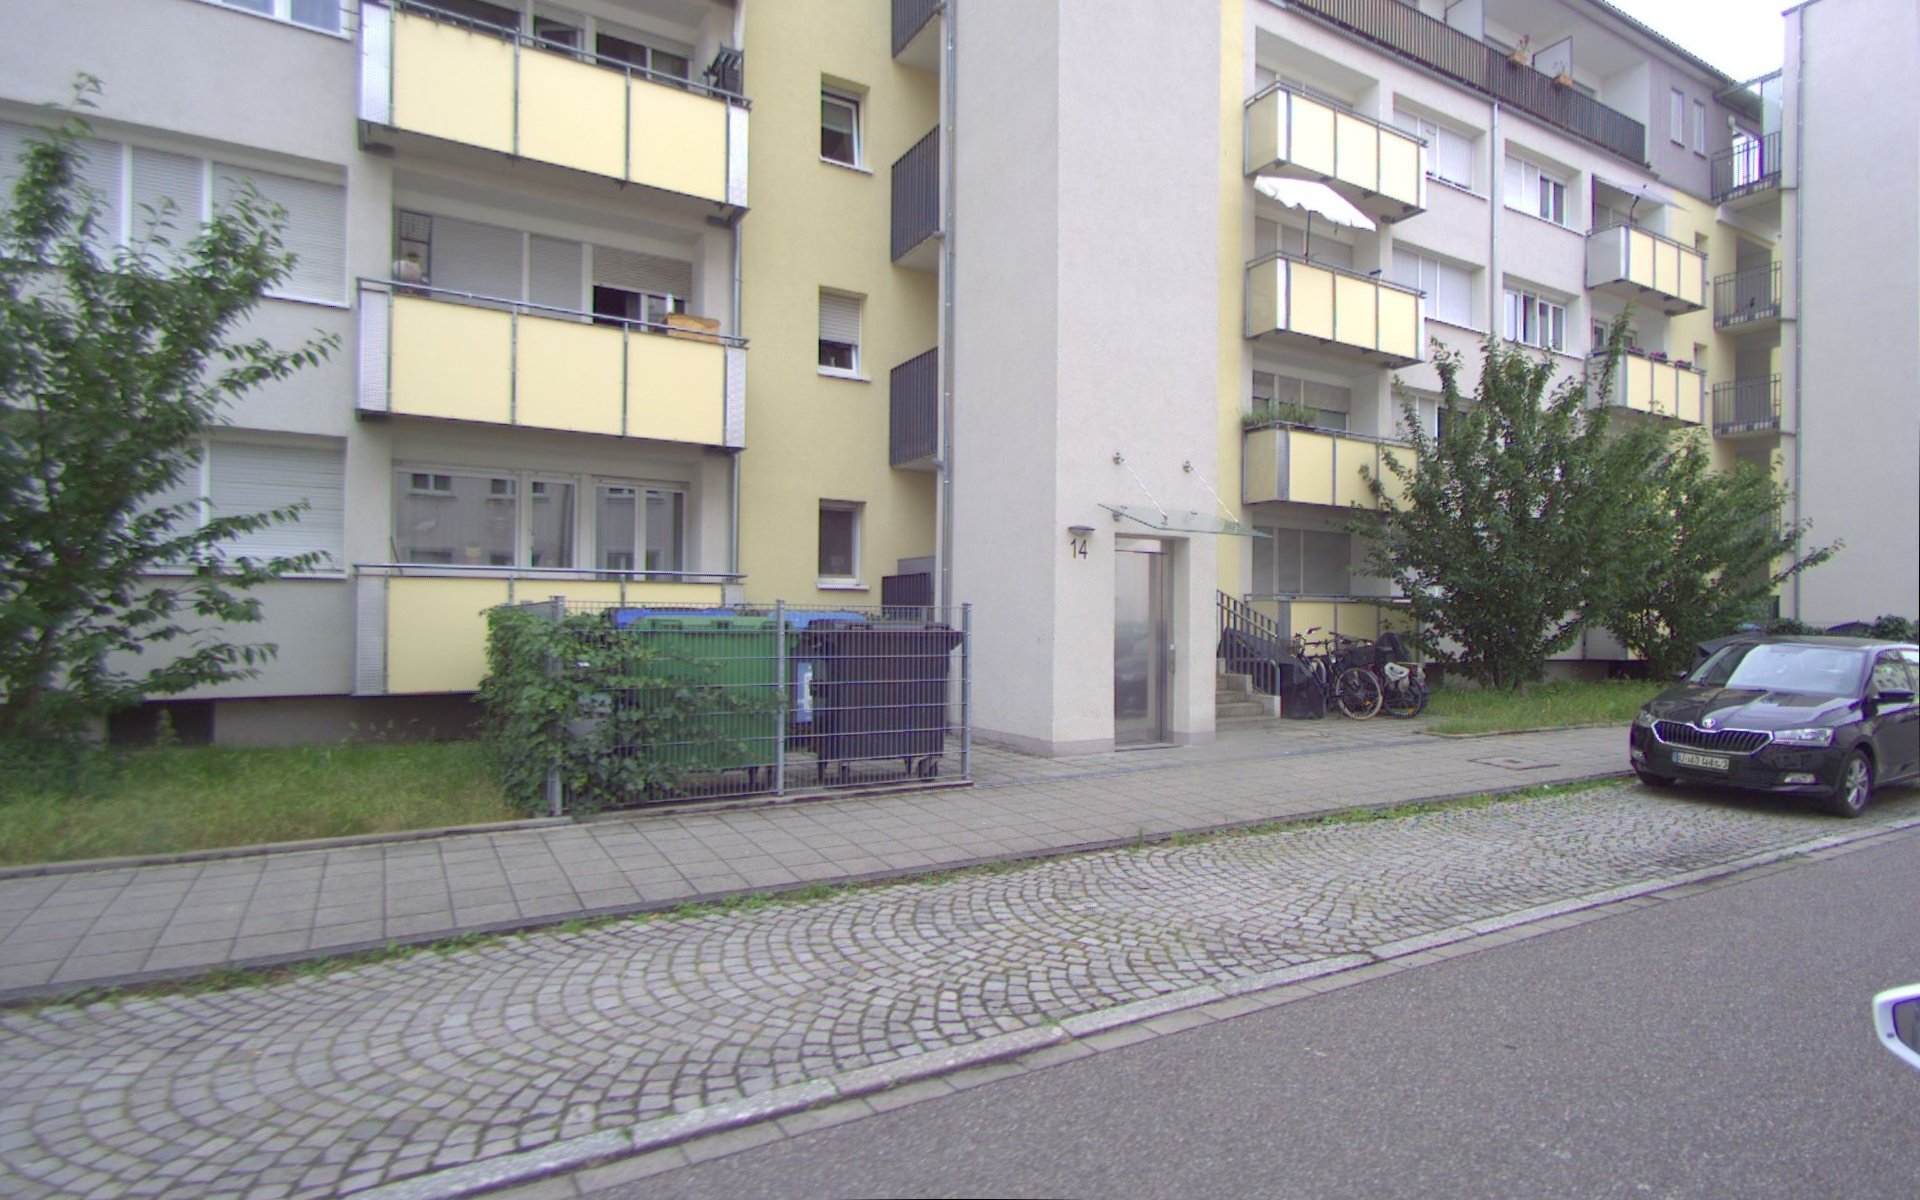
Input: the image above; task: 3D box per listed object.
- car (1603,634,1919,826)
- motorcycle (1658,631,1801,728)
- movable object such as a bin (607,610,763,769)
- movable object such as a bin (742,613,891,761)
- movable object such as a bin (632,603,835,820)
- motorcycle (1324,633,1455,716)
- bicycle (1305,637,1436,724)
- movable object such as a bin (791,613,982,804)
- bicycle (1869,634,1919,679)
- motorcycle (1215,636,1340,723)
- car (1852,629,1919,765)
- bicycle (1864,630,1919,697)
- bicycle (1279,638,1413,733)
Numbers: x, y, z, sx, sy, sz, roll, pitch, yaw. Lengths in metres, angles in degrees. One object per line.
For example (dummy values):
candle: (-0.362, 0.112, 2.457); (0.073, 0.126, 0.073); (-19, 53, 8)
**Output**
car: (8.084, 1.090, 9.685); (3.811, 1.458, 1.635); (1, 0, -31)
motorcycle: (11.566, 1.147, 15.077); (2.391, 1.324, 0.865); (1, 0, -30)
movable object such as a bin: (-2.764, 0.843, 10.066); (1.299, 1.466, 0.997); (1, -1, -30)
movable object such as a bin: (-1.546, 0.882, 10.774); (1.299, 1.466, 0.997); (1, -1, -30)
movable object such as a bin: (-1.777, 0.799, 7.823); (1.299, 1.520, 0.997); (1, -1, -30)
motorcycle: (6.317, 1.072, 14.876); (0.587, 1.144, 1.739); (1, -2, -33)
bicycle: (5.860, 1.121, 14.427); (0.602, 1.157, 1.712); (1, -1, -34)
movable object such as a bin: (-0.628, 0.850, 8.481); (1.299, 1.466, 0.997); (1, -1, -30)
bicycle: (24.952, 1.472, 26.139); (0.598, 1.133, 1.825); (1, 0, -31)
motorcycle: (4.448, 1.092, 14.163); (0.683, 1.144, 1.606); (1, -2, -33)
car: (12.893, 1.164, 12.364); (3.846, 1.551, 1.646); (1, 0, -28)
bicycle: (17.655, 1.177, 18.966); (1.712, 1.207, 0.547); (1, -2, -38)
bicycle: (5.355, 1.154, 14.045); (0.602, 1.241, 1.712); (1, -2, -34)
